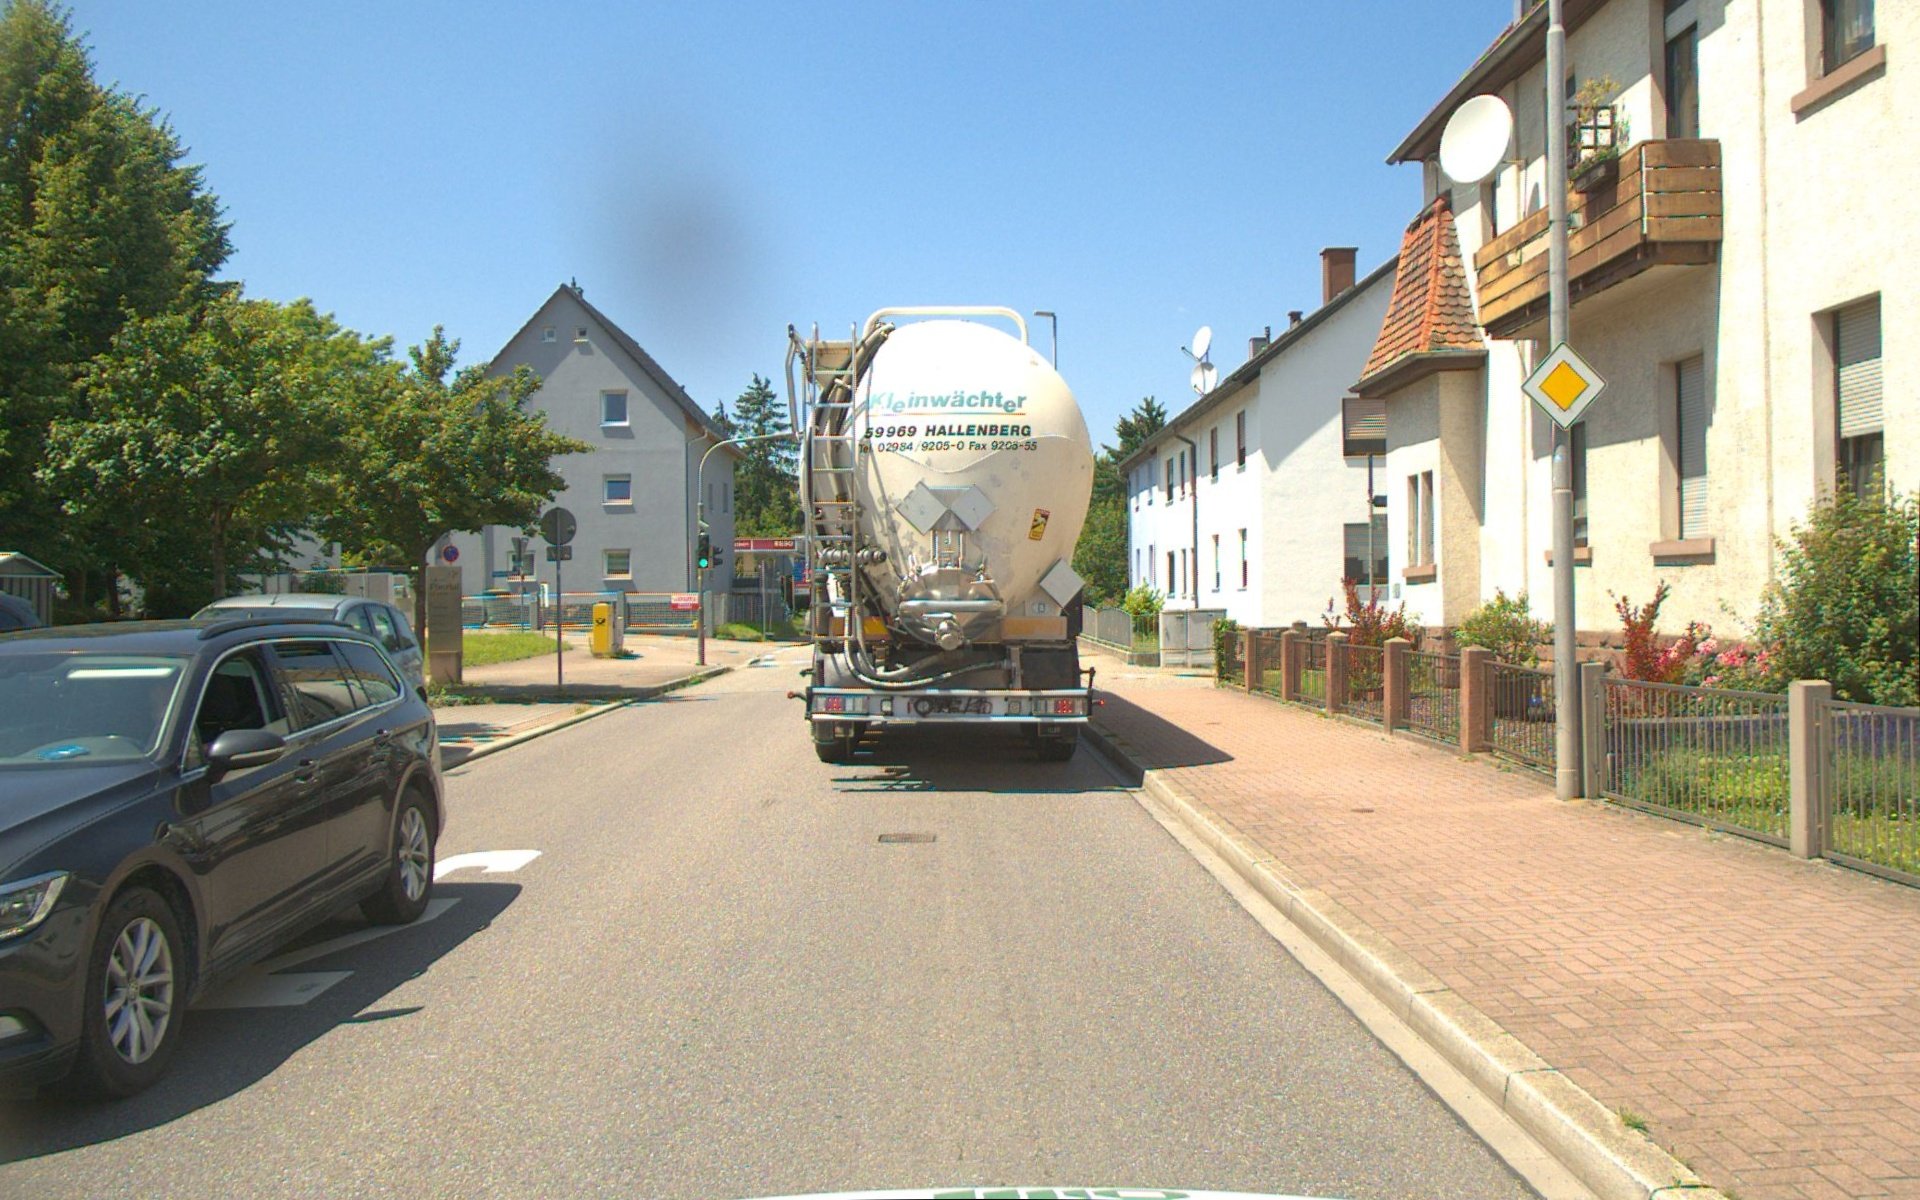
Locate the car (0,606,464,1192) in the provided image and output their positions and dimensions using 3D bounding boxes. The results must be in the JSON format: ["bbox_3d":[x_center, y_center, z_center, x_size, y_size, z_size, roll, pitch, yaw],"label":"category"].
[{"bbox_3d":[-3.387,0.809,6.321,1.748,1.481,4.256,-2,0,-2],"label":"car"}]

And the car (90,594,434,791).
[{"bbox_3d":[-6.321,0.760,15.454,1.663,1.608,3.836,0,0,-2],"label":"car"}]

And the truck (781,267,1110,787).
[{"bbox_3d":[-0.179,-0.574,17.806,2.587,4.086,9.559,0,0,-1],"label":"truck"}]

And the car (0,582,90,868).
[{"bbox_3d":[-6.352,0.718,8.512,1.657,1.648,3.997,0,0,-1],"label":"car"}]
